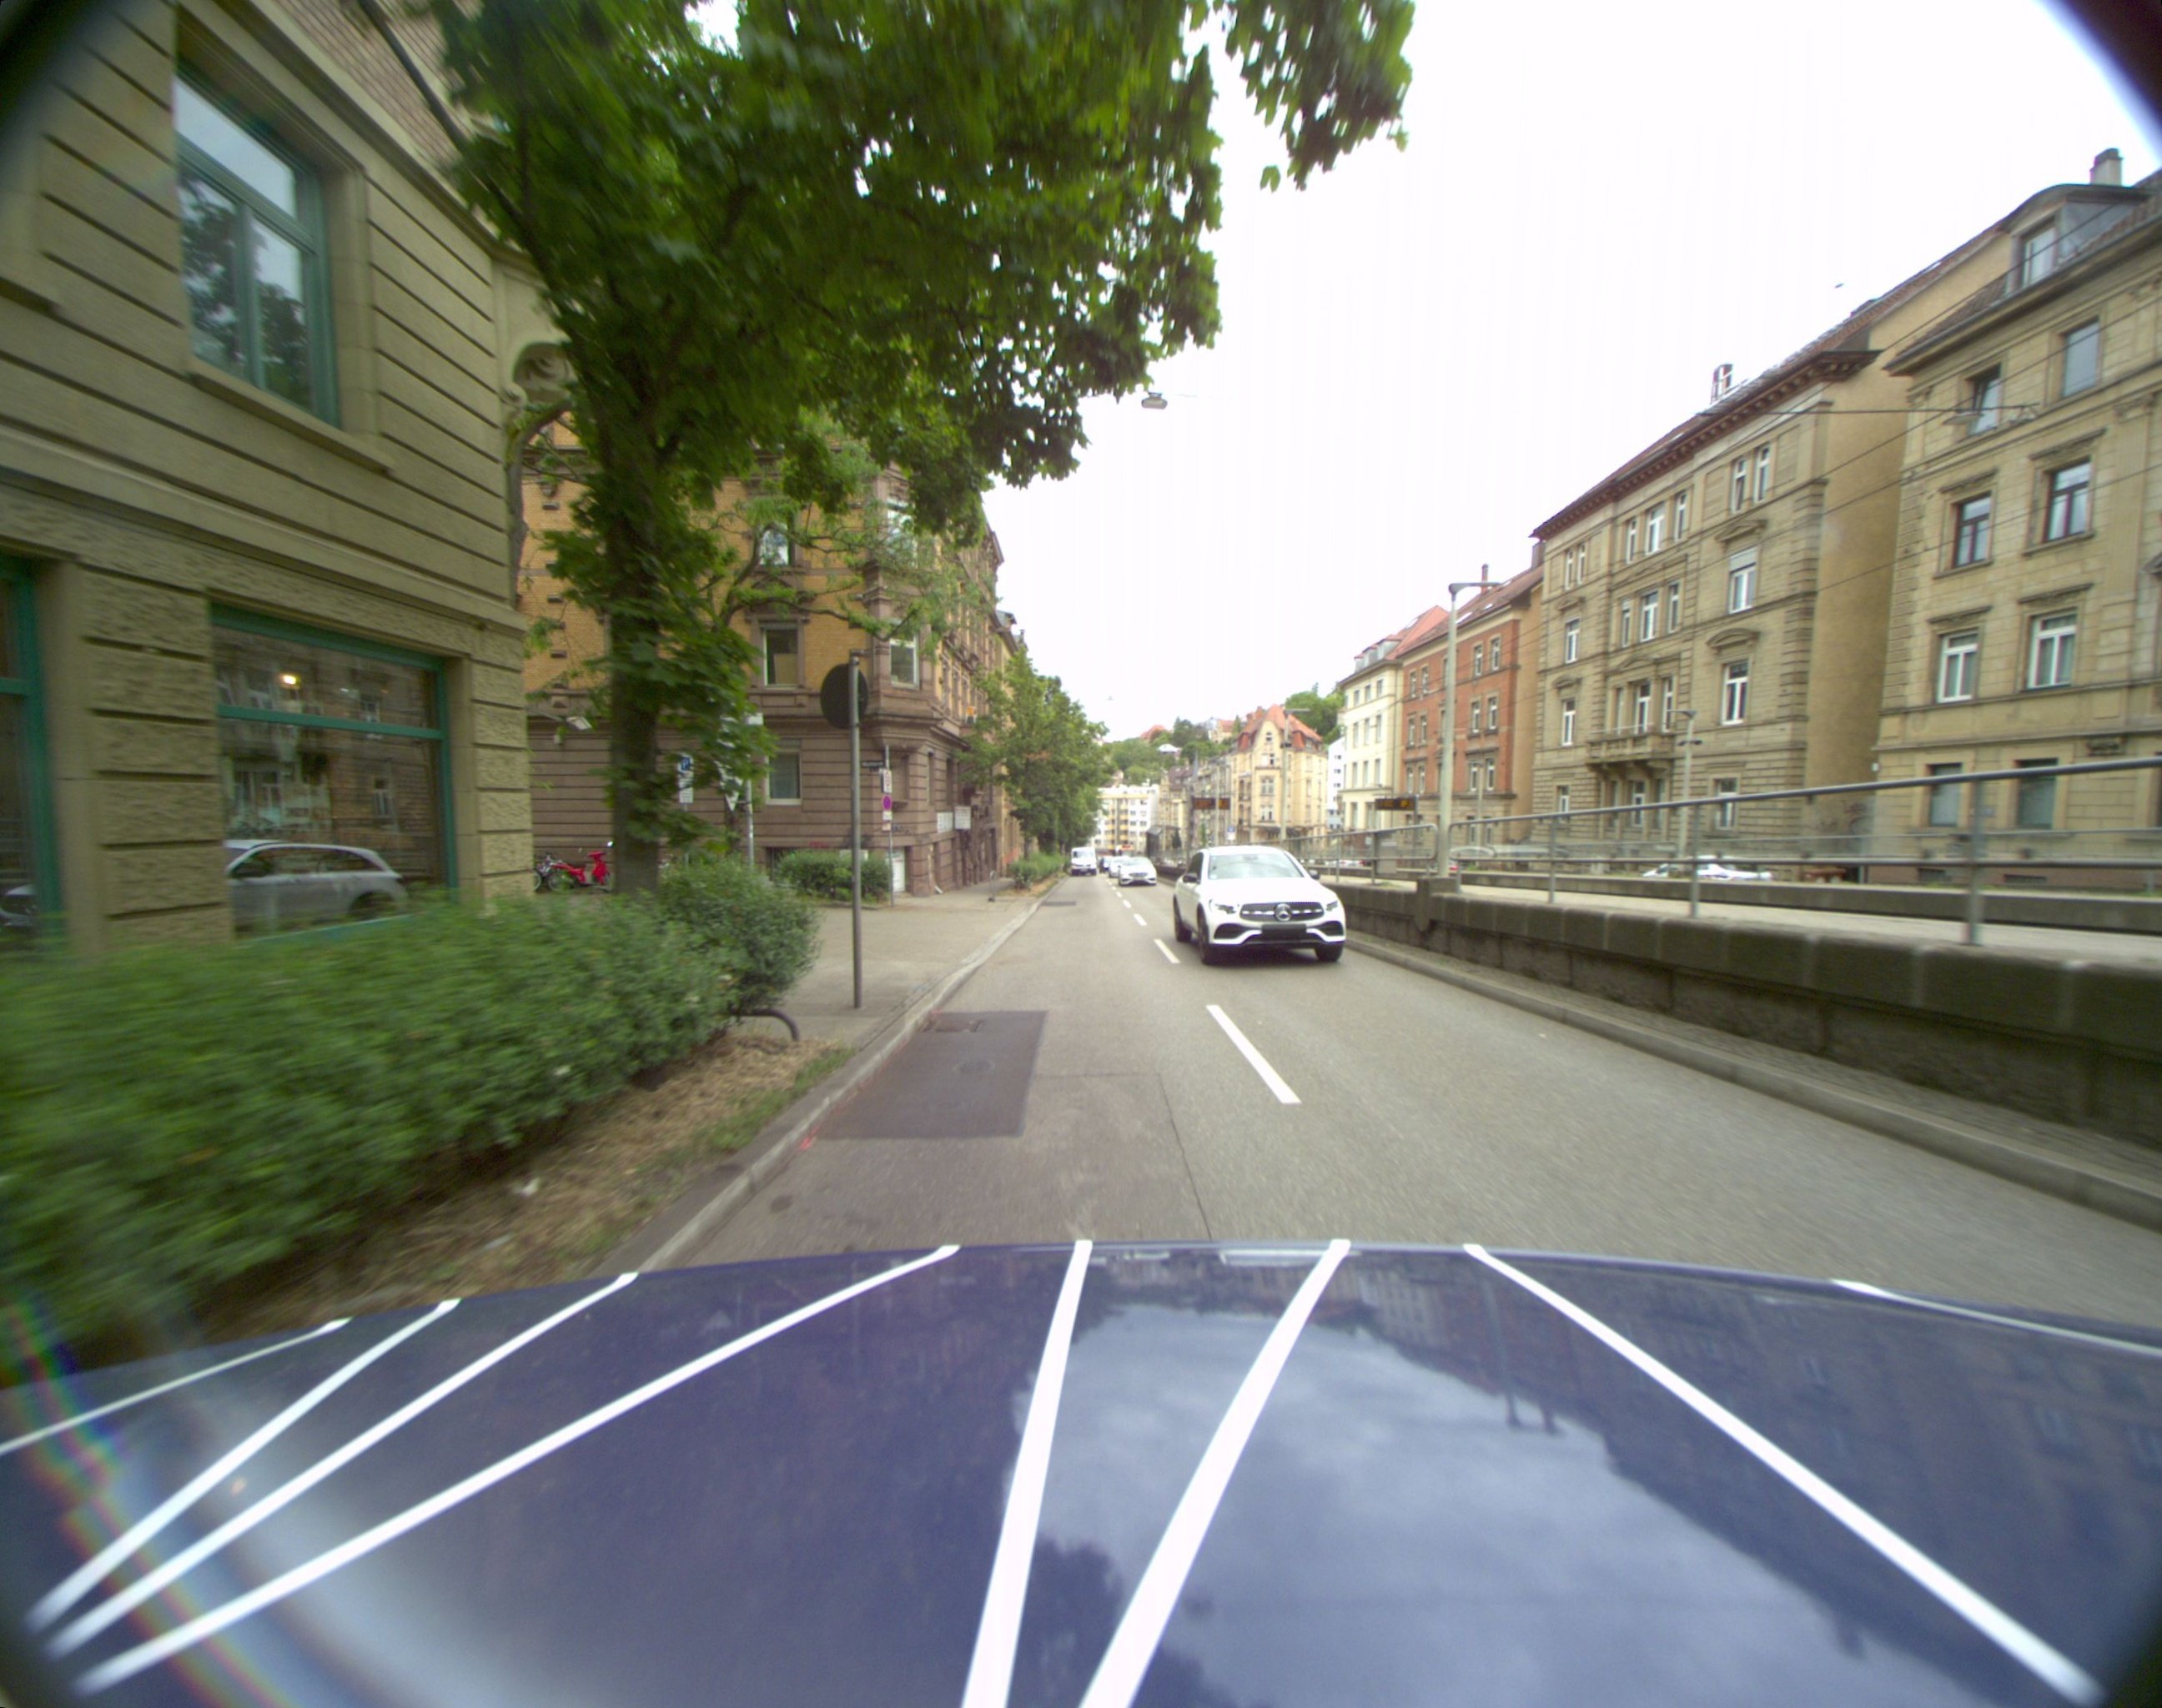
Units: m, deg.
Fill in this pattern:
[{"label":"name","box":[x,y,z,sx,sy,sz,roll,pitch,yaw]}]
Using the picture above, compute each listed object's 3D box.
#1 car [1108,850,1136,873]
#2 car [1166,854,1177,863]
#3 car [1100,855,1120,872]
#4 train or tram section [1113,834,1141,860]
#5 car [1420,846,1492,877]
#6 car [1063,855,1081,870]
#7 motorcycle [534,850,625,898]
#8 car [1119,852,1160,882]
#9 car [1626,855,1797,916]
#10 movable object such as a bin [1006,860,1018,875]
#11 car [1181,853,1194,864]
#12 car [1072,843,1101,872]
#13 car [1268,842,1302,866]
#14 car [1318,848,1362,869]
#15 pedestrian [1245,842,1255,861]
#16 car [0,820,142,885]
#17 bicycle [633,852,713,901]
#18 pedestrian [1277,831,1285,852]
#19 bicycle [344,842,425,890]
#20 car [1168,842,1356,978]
[{"label":"car","box":[2.848,0.490,53.755,1.806,1.542,4.000,-1,0,0]},{"label":"car","box":[16.903,0.834,142.323,1.827,1.754,3.864,0,0,2]},{"label":"car","box":[2.648,0.826,69.818,1.694,1.466,3.857,0,0,1]},{"label":"train or tram section","box":[6.620,-0.933,110.998,2.968,3.456,14.407,1,0,-1]},{"label":"car","box":[19.787,0.388,40.310,1.883,1.519,4.000,1,0,1]},{"label":"car","box":[-0.845,0.767,69.609,1.562,1.330,3.999,0,0,-3]},{"label":"motorcycle","box":[-12.715,0.482,19.328,0.507,1.093,1.924,4,3,25]},{"label":"car","box":[2.908,0.619,38.478,1.806,1.391,4.000,-1,0,0]},{"label":"car","box":[19.163,0.886,23.364,1.940,1.670,4.000,1,0,0]},{"label":"movable object such as a bin","box":[-4.381,0.824,47.953,0.672,0.937,0.539,0,1,4]},{"label":"car","box":[17.038,0.649,121.552,1.827,1.754,3.864,0,0,3]},{"label":"car","box":[0.431,0.285,63.018,2.263,2.274,5.967,-1,0,0]},{"label":"car","box":[19.989,-0.007,74.665,1.998,2.291,5.455,0,0,1]},{"label":"car","box":[19.423,0.345,57.148,1.772,1.462,4.260,-1,0,-1]},{"label":"pedestrian","box":[14.890,-0.241,66.926,0.767,1.678,0.843,0,0,1]},{"label":"car","box":[-26.839,-0.077,19.182,4.278,1.399,1.642,3,3,1]},{"label":"bicycle","box":[-10.413,0.550,19.483,0.507,1.093,1.924,4,3,21]},{"label":"pedestrian","box":[14.597,-0.911,55.446,0.463,1.553,0.540,0,1,0]},{"label":"bicycle","box":[-18.008,0.292,19.693,0.565,1.093,1.918,2,3,-9]},{"label":"car","box":[2.538,0.681,11.867,1.840,1.657,4.670,-2,1,1]}]
